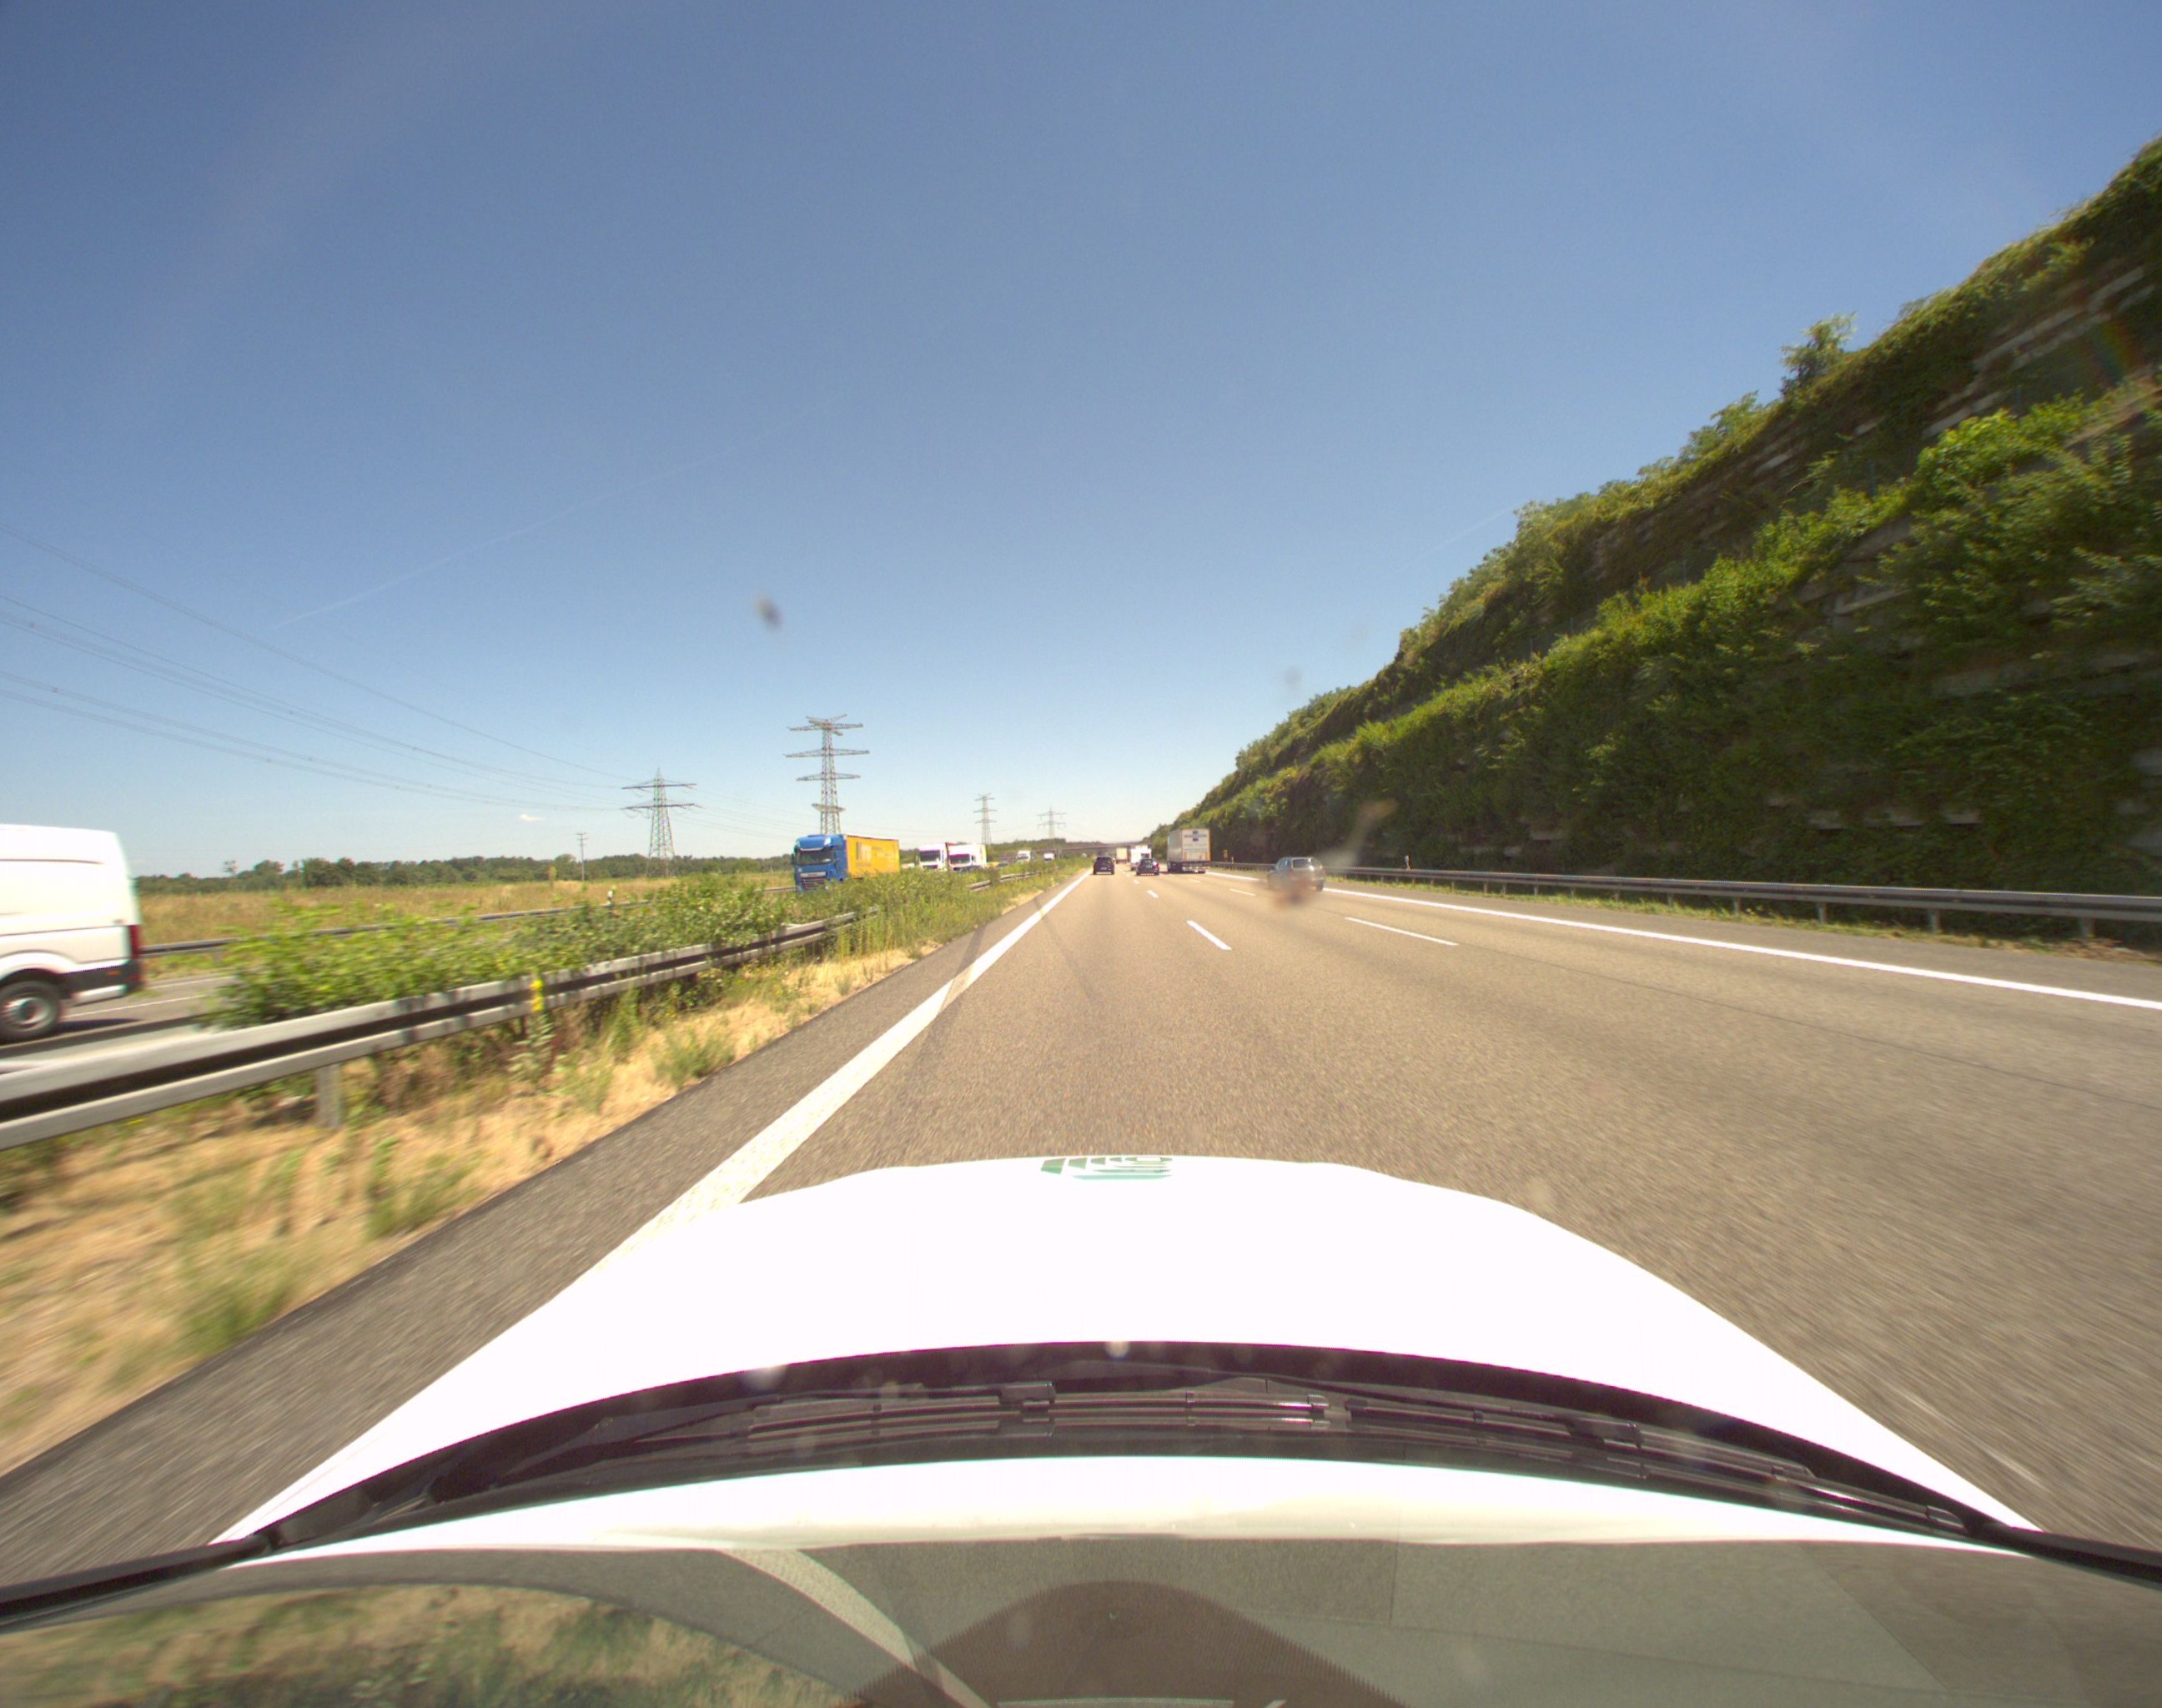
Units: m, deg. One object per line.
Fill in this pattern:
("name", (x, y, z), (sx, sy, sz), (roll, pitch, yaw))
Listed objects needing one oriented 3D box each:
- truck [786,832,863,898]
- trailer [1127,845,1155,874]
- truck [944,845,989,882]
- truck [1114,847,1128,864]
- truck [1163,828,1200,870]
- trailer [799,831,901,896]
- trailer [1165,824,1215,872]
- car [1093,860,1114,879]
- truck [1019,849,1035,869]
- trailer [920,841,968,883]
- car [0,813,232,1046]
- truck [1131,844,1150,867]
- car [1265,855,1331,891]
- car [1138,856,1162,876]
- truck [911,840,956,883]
("truck", (-16.194, 0.678, 51.888), (2.853, 3.907, 5.622), (-2, 0, 1))
("trailer", (7.028, 0.633, 96.711), (2.601, 3.213, 9.953), (-2, 0, 1))
("truck", (-11.351, 0.917, 81.502), (2.926, 3.413, 9.367), (-3, 0, 1))
("truck", (10.387, 0.423, 211.198), (3.397, 4.280, 10.610), (-2, 0, 2))
("truck", (10.408, -0.503, 84.827), (3.124, 4.142, 5.505), (-2, 0, 1))
("trailer", (-16.085, 0.646, 58.304), (2.839, 3.977, 14.146), (-2, 0, 1))
("trailer", (10.219, -0.508, 78.000), (3.171, 4.121, 13.435), (-3, 0, 2))
("car", (2.049, 1.416, 75.951), (1.823, 1.670, 4.001), (-2, 0, 1))
("truck", (-11.733, 1.120, 176.846), (2.686, 4.068, 5.803), (-2, 0, 1))
("trailer", (-15.189, 0.905, 91.337), (3.182, 4.306, 12.271), (-1, -1, 1))
("car", (-13.293, 0.910, 7.844), (2.097, 2.631, 7.470), (-4, 0, 2))
("truck", (11.799, 0.249, 161.434), (3.107, 4.280, 11.937), (-2, 0, 2))
("car", (9.241, 0.772, 35.020), (1.679, 1.428, 4.453), (-1, 0, 1))
("car", (5.888, 0.997, 69.601), (1.823, 1.525, 4.002), (-2, 0, 2))
("truck", (-15.261, 0.738, 84.767), (3.202, 4.158, 6.439), (-3, 0, 0))
